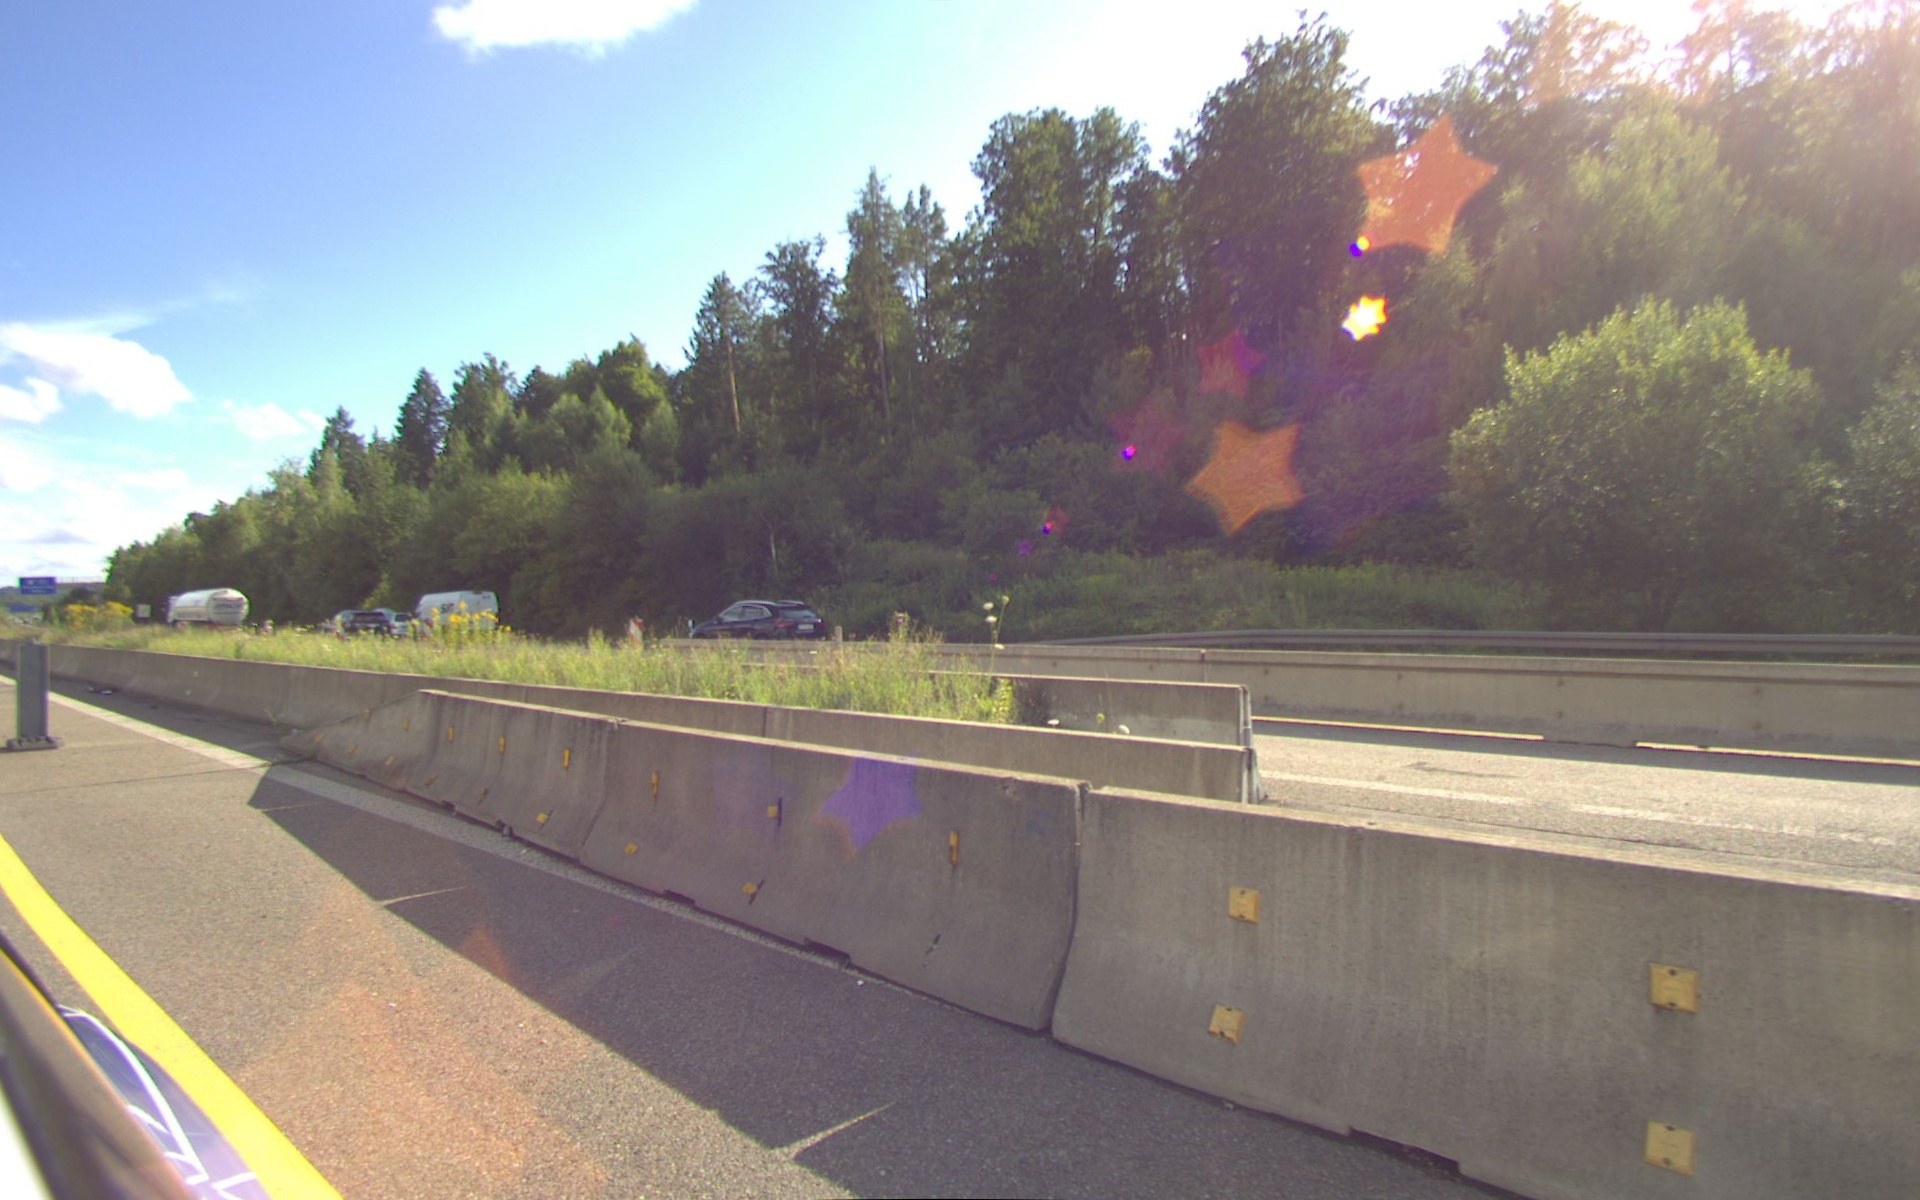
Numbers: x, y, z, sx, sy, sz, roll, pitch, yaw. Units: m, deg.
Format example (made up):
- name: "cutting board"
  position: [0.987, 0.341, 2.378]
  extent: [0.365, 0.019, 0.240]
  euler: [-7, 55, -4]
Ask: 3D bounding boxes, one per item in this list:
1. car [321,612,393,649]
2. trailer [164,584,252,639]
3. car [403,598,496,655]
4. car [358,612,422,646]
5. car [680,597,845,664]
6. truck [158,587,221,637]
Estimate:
- name: "car"
  position: [-27.903, 1.382, 46.788]
  extent: [4.017, 1.614, 1.759]
  euler: [-1, 0, 43]
- name: "trailer"
  position: [-51.847, 0.795, 69.600]
  extent: [11.110, 3.516, 2.772]
  euler: [-1, 0, 42]
- name: "car"
  position: [-25.896, 1.296, 51.185]
  extent: [6.522, 2.705, 2.006]
  euler: [-1, 0, 43]
- name: "car"
  position: [-33.017, 1.634, 58.532]
  extent: [4.761, 1.867, 1.840]
  euler: [-1, 0, 43]
- name: "car"
  position: [-5.291, 0.767, 26.764]
  extent: [4.480, 1.600, 1.938]
  euler: [-1, 0, 41]
- name: "truck"
  position: [-55.698, 0.866, 73.131]
  extent: [4.939, 3.516, 2.755]
  euler: [-1, 0, 42]
